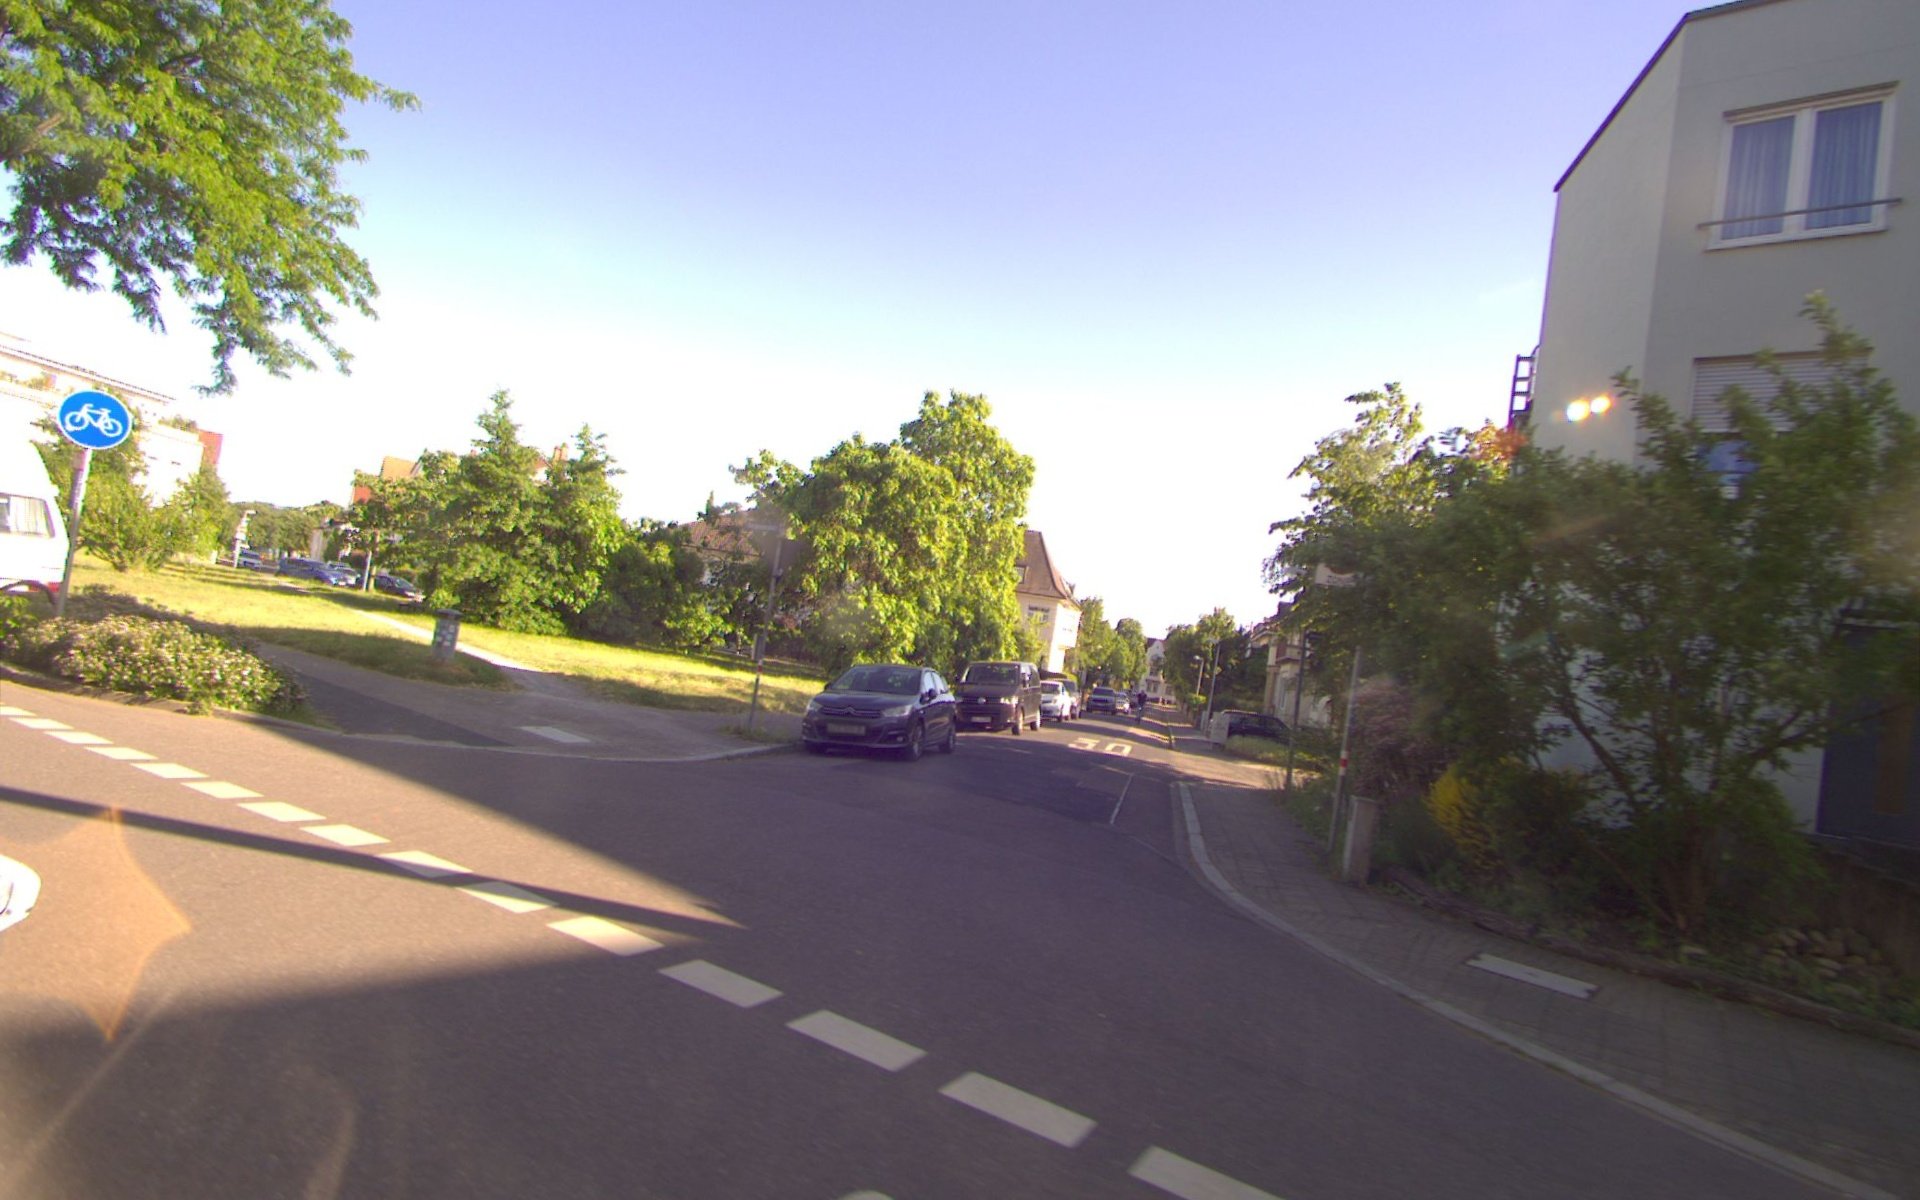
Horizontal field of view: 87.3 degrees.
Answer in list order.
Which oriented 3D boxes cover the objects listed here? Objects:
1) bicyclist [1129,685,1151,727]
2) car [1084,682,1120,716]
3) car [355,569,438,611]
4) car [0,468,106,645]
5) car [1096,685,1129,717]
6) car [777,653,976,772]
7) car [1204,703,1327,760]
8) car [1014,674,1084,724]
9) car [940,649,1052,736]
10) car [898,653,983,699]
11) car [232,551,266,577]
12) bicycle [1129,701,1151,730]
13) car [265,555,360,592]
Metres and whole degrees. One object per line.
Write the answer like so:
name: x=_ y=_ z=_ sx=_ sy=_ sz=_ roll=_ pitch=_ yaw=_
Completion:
bicyclist: x=9.299 y=5.447 z=51.874 sx=0.810 sy=2.036 sz=0.852 roll=8 pitch=-2 yaw=8
car: x=9.026 y=6.222 z=63.705 sx=1.962 sy=1.791 sz=4.008 roll=8 pitch=-3 yaw=10
car: x=-34.171 y=-0.592 z=61.030 sx=3.924 sy=1.799 sz=2.004 roll=8 pitch=-3 yaw=14
car: x=-13.937 y=-0.823 z=13.524 sx=4.635 sy=2.118 sz=2.000 roll=7 pitch=-3 yaw=29
car: x=10.507 y=6.922 z=69.224 sx=1.962 sy=1.815 sz=4.009 roll=8 pitch=-4 yaw=10
car: x=-1.172 y=1.790 z=16.551 sx=1.970 sy=1.506 sz=4.471 roll=4 pitch=-4 yaw=12
car: x=12.444 y=5.335 z=41.205 sx=4.497 sy=1.517 sz=2.004 roll=8 pitch=-3 yaw=12
car: x=3.657 y=3.976 z=40.599 sx=1.962 sy=1.610 sz=4.237 roll=8 pitch=-3 yaw=15
car: x=1.137 y=2.620 z=28.215 sx=2.060 sy=1.904 sz=5.226 roll=8 pitch=-4 yaw=12
car: x=-1.016 y=4.086 z=53.990 sx=3.925 sy=1.816 sz=2.004 roll=8 pitch=-3 yaw=17
car: x=-59.548 y=-3.015 z=84.222 sx=2.037 sy=1.726 sz=4.246 roll=11 pitch=-4 yaw=-36
bicycle: x=9.256 y=5.934 z=51.881 sx=0.785 sy=1.245 sz=2.668 roll=8 pitch=-3 yaw=6
car: x=-40.254 y=-1.655 z=62.580 sx=4.665 sy=1.486 sz=2.069 roll=8 pitch=-3 yaw=11
